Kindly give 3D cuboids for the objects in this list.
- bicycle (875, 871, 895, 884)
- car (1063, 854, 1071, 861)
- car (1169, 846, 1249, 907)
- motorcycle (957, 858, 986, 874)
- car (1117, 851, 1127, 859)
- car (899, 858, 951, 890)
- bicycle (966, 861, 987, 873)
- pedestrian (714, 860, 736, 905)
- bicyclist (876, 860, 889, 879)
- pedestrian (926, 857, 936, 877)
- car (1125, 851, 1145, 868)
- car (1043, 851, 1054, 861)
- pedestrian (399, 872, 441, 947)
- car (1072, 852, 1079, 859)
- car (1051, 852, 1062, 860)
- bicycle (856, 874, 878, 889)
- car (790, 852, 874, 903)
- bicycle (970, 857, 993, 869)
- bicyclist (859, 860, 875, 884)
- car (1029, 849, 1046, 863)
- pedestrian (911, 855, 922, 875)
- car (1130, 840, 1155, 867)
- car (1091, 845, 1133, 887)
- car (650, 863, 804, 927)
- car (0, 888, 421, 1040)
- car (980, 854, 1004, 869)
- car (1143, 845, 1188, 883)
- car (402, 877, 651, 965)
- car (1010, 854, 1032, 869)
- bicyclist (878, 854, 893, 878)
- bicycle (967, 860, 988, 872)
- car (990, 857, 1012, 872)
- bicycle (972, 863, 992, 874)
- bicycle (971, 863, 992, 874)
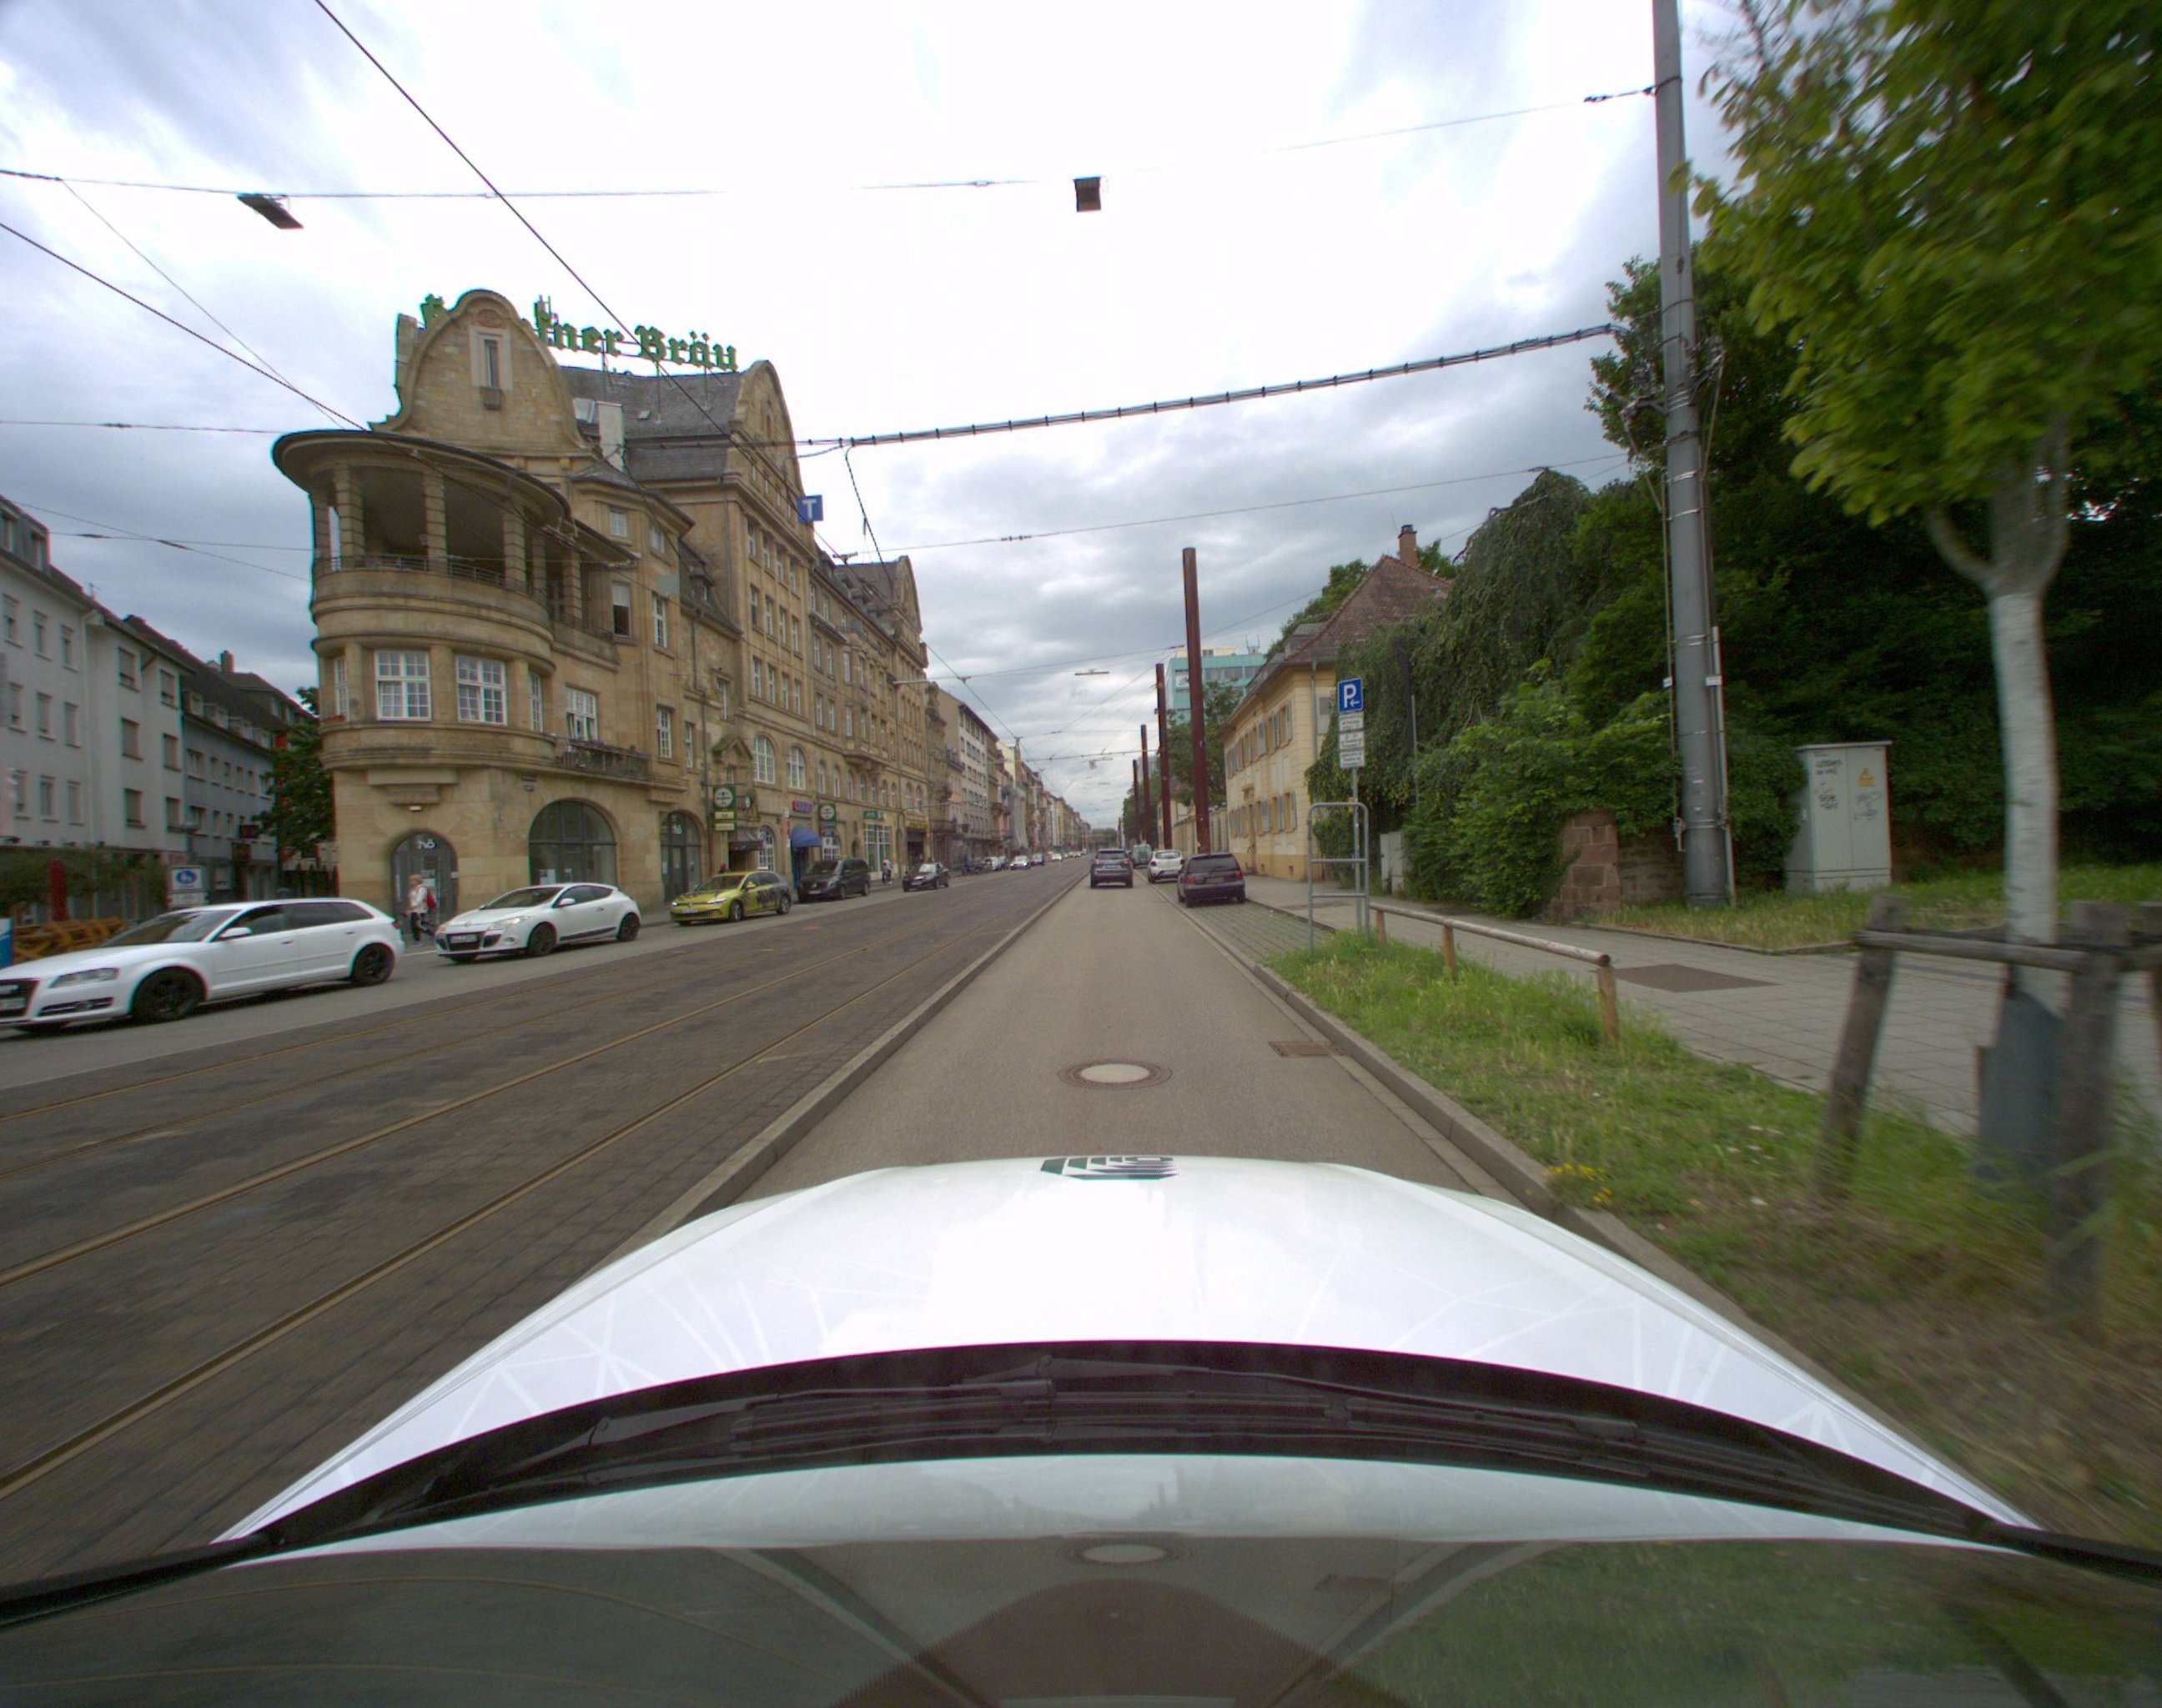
[{"bbox_3d":[-12.482,1.498,51.940,0.579,0.745,2.252,-2,0,2],"label":"bicycle"},{"bbox_3d":[-3.803,0.895,218.889,1.988,1.635,3.998,-2,-1,-1],"label":"car"},{"bbox_3d":[3.506,0.569,22.905,1.631,1.433,3.932,-5,0,2],"label":"car"},{"bbox_3d":[-9.874,1.095,73.416,2.354,1.302,0.874,-3,0,-35],"label":"motorcycle"},{"bbox_3d":[7.604,0.217,152.686,1.769,1.420,4.137,-3,0,2],"label":"car"},{"bbox_3d":[-8.033,0.996,42.403,1.822,1.433,4.663,-5,0,-2],"label":"car"},{"bbox_3d":[-9.692,1.171,75.521,1.919,1.001,0.462,-3,0,-6],"label":"bicycle"},{"bbox_3d":[-14.107,1.121,32.273,0.493,1.728,0.765,-3,0,-2],"label":"pedestrian"},{"bbox_3d":[-12.528,0.985,51.371,0.609,1.117,0.660,-2,0,2],"label":"bicyclist"},{"bbox_3d":[-12.067,1.065,65.548,0.566,1.598,0.718,-3,0,2],"label":"pedestrian"},{"bbox_3d":[5.640,0.542,85.408,1.743,1.596,3.925,-5,0,2],"label":"car"},{"bbox_3d":[-6.343,0.432,160.707,1.988,1.706,3.998,-2,-1,-1],"label":"car"},{"bbox_3d":[-15.748,1.301,19.413,0.533,1.719,0.628,-3,0,-20],"label":"pedestrian"},{"bbox_3d":[-1.470,0.377,224.891,1.988,1.635,3.998,-2,-1,-1],"label":"car"},{"bbox_3d":[-4.388,0.364,146.955,1.681,1.420,4.137,-3,0,2],"label":"car"},{"bbox_3d":[-12.334,1.566,46.939,0.579,0.745,2.252,-2,0,2],"label":"bicycle"},{"bbox_3d":[-11.097,0.962,36.714,1.892,1.977,5.099,-5,0,2],"label":"car"},{"bbox_3d":[-9.937,0.892,81.552,2.228,1.126,0.503,-3,0,-6],"label":"bicycle"},{"bbox_3d":[-12.355,1.047,47.016,0.609,1.324,0.972,-2,0,2],"label":"bicyclist"},{"bbox_3d":[-5.552,0.269,104.578,1.752,1.671,4.617,-3,0,2],"label":"car"},{"bbox_3d":[-13.461,0.903,66.627,0.682,1.613,0.742,-2,0,2],"label":"pedestrian"},{"bbox_3d":[5.326,-0.018,71.051,1.844,2.115,4.986,-5,0,2],"label":"car"},{"bbox_3d":[1.350,0.492,35.950,1.743,1.756,3.925,0,0,2],"label":"car"},{"bbox_3d":[-10.399,1.142,24.334,1.886,1.511,4.443,-4,0,12],"label":"car"},{"bbox_3d":[-11.724,1.326,11.035,1.739,1.379,4.366,-5,0,3],"label":"car"},{"bbox_3d":[-9.258,0.770,85.183,1.769,1.504,4.403,-3,0,2],"label":"car"},{"bbox_3d":[4.020,0.460,39.299,1.749,1.574,3.932,-5,0,2],"label":"car"},{"bbox_3d":[-11.135,1.271,16.813,1.917,1.380,4.264,-3,0,5],"label":"car"},{"bbox_3d":[-6.291,0.795,86.320,1.752,1.449,4.617,-3,0,2],"label":"car"},{"bbox_3d":[-12.518,0.778,52.191,0.609,1.487,0.972,-2,0,2],"label":"bicyclist"},{"bbox_3d":[-9.690,1.139,76.227,1.963,1.001,0.462,-3,0,-6],"label":"bicycle"},{"bbox_3d":[-8.975,1.172,91.516,1.769,1.504,4.403,-3,0,2],"label":"car"},{"bbox_3d":[-9.754,1.449,80.153,1.963,1.001,0.462,-3,0,-6],"label":"bicycle"},{"bbox_3d":[-9.698,1.448,79.587,1.963,1.001,0.462,-3,0,-6],"label":"bicycle"}]
